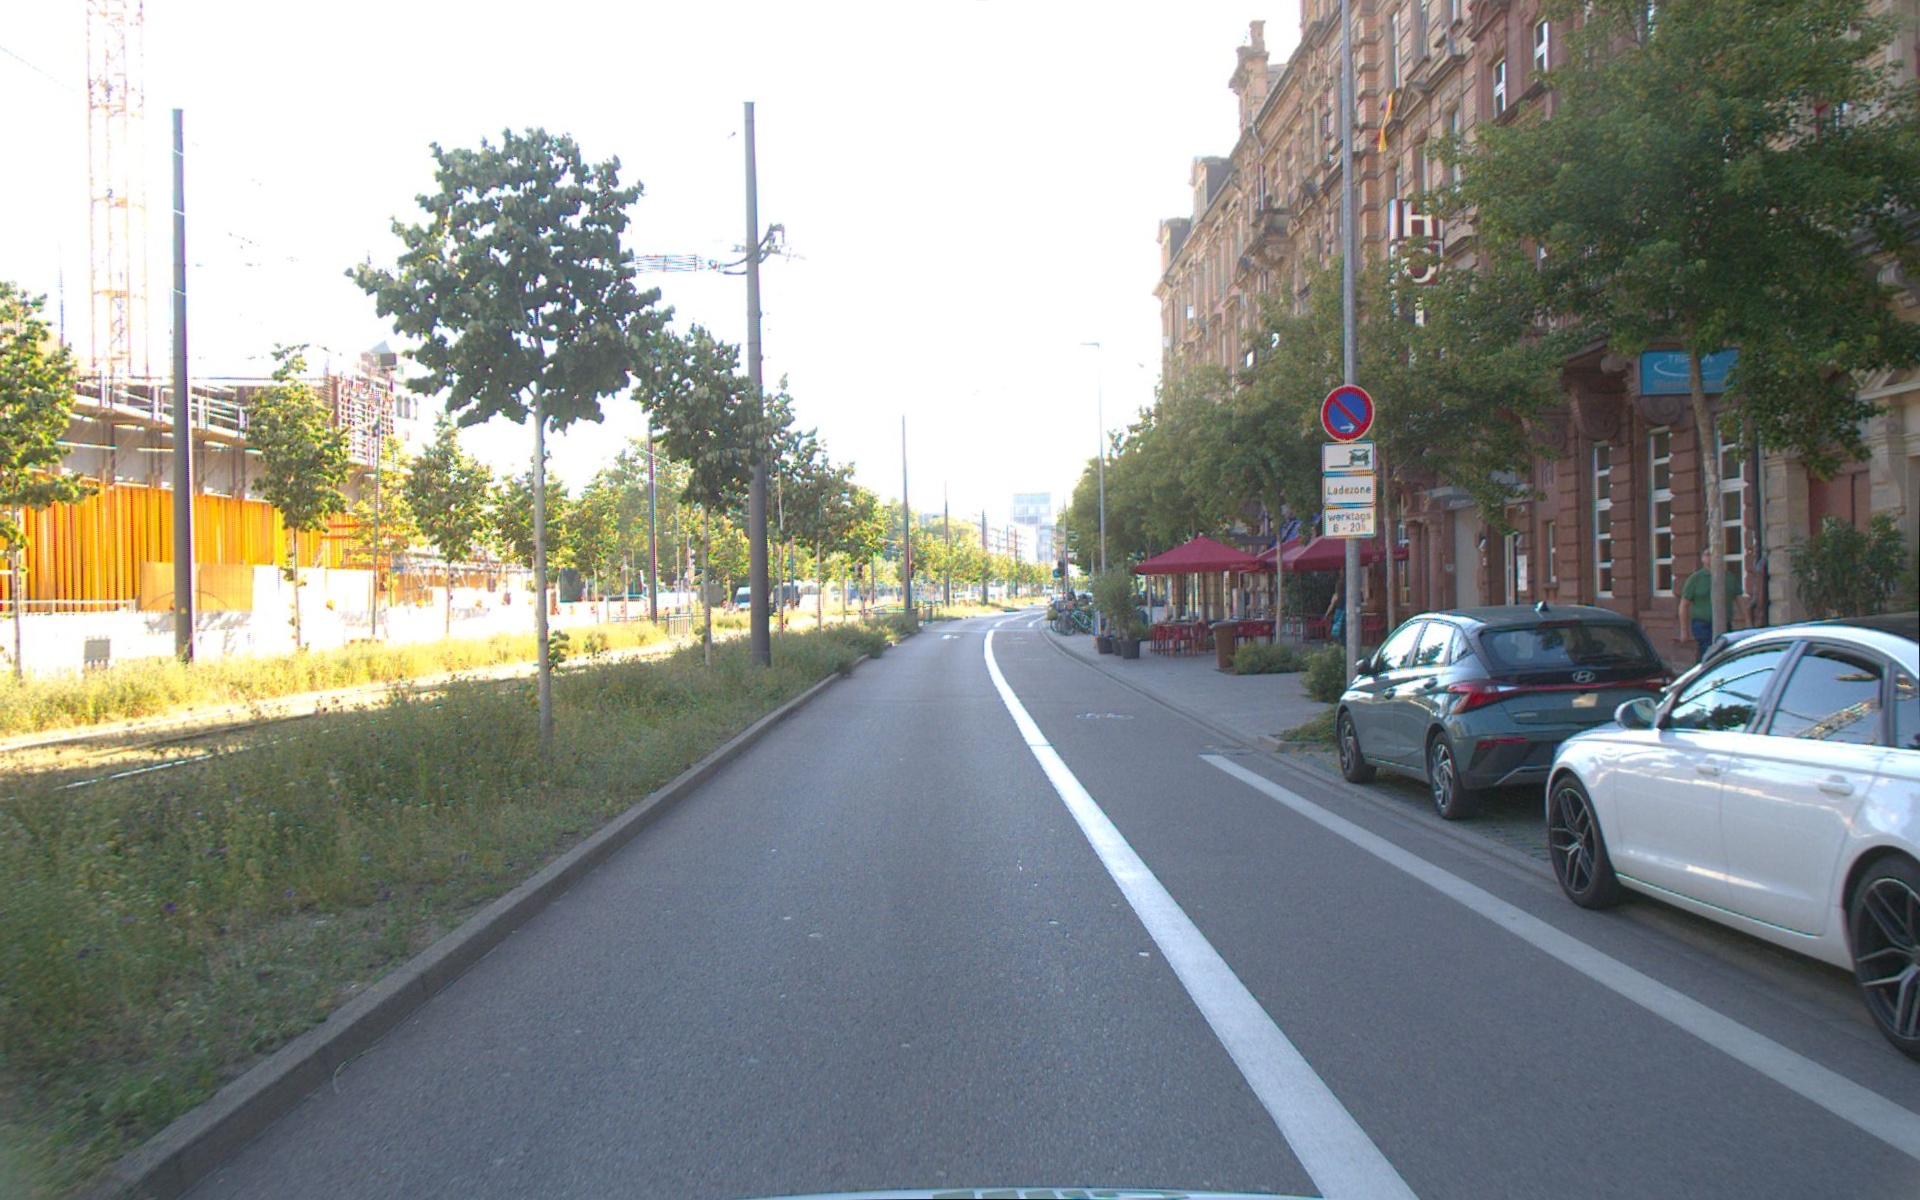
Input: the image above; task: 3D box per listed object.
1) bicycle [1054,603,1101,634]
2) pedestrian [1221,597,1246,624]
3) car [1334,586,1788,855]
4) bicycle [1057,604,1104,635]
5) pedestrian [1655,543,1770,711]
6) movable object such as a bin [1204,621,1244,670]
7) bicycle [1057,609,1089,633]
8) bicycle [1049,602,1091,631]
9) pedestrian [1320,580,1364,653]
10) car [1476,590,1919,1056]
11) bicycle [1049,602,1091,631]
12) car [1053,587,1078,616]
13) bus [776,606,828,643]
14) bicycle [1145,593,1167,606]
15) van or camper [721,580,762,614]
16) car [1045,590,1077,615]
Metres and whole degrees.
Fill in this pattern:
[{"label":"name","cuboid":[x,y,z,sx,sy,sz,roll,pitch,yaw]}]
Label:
[{"label":"bicycle","cuboid":[4.702,0.725,66.407,1.805,1.123,0.566,-4,0,5]},{"label":"pedestrian","cuboid":[10.217,0.398,61.756,0.797,0.979,0.804,-1,0,2]},{"label":"car","cuboid":[4.255,0.749,12.512,1.811,1.591,4.297,-3,0,0]},{"label":"bicycle","cuboid":[4.731,0.759,64.895,1.767,1.065,0.566,-4,0,5]},{"label":"pedestrian","cuboid":[8.341,0.288,18.369,0.732,1.785,1.072,-2,0,0]},{"label":"movable object such as a bin","cuboid":[5.394,0.928,33.762,0.661,0.940,0.560,-4,-1,20]},{"label":"bicycle","cuboid":[4.669,0.847,68.058,1.248,0.892,0.507,-4,0,5]},{"label":"bicycle","cuboid":[4.727,0.707,70.785,1.717,1.123,0.507,-4,0,5]},{"label":"pedestrian","cuboid":[8.489,0.367,36.776,0.713,1.560,0.797,-3,0,-1]},{"label":"car","cuboid":[4.043,0.736,7.138,1.811,1.479,5.251,-3,0,-2]},{"label":"bicycle","cuboid":[4.754,0.714,71.376,1.717,1.123,0.507,-4,0,5]},{"label":"car","cuboid":[7.659,0.099,120.142,1.698,1.952,4.396,-3,0,4]},{"label":"bus","cuboid":[-16.513,2.518,173.693,2.739,3.657,12.708,-1,0,7]},{"label":"bicycle","cuboid":[17.823,-0.019,150.329,1.860,1.112,0.392,-2,0,1]},{"label":"van or camper","cuboid":[-17.584,-0.245,133.439,2.176,2.553,7.200,-3,1,0]},{"label":"car","cuboid":[6.856,0.161,112.781,1.892,1.626,4.699,-3,0,0]}]
